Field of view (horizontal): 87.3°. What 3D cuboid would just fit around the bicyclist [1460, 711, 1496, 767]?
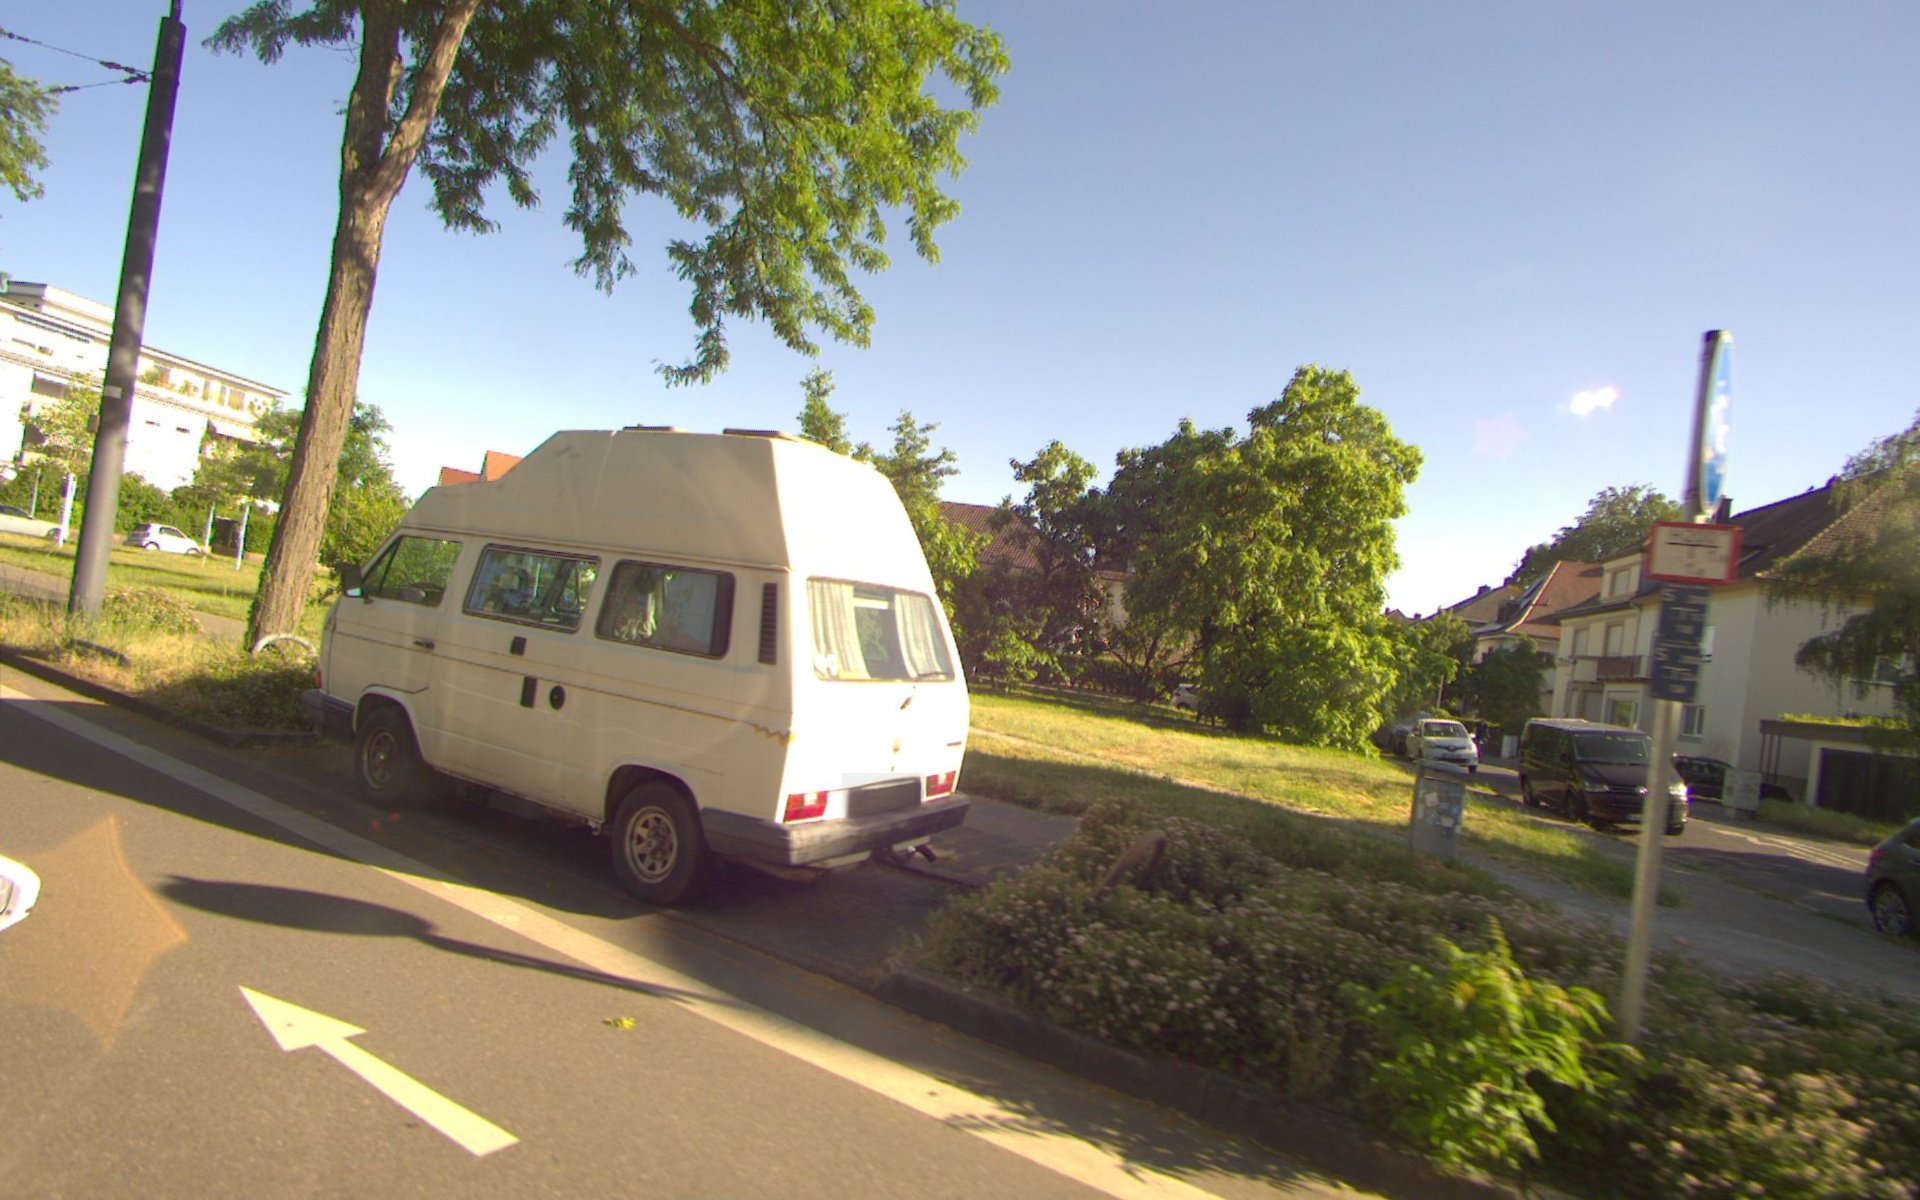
[{"bbox_3d":[20.715,5.550,40.274,0.810,2.037,0.851,7,-1,6],"label":"bicyclist"}]

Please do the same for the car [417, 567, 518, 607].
[{"bbox_3d":[-27.485,-0.709,56.188,4.665,1.487,2.068,7,-2,12],"label":"car"}]

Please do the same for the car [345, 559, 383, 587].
[{"bbox_3d":[-46.439,-2.123,78.384,2.035,1.727,4.248,10,-3,-35],"label":"car"}]

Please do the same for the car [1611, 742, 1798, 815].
[{"bbox_3d":[24.820,5.928,33.735,4.497,1.518,2.003,7,-2,13],"label":"car"}]

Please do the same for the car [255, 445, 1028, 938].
[{"bbox_3d":[-2.186,0.337,6.584,4.636,2.119,1.999,7,-2,30],"label":"car"}]

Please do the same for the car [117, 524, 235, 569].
[{"bbox_3d":[-39.147,-2.654,50.362,1.806,1.527,4.300,5,-4,19],"label":"car"}]

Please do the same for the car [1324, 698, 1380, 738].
[{"bbox_3d":[21.885,6.571,56.310,1.962,1.792,4.006,7,-2,11],"label":"car"}]

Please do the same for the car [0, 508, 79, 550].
[{"bbox_3d":[-41.112,-3.215,43.183,1.931,1.384,4.532,7,-3,14],"label":"car"}]

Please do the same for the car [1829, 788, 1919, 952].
[{"bbox_3d":[10.653,2.855,9.355,1.971,1.507,4.469,4,-3,13],"label":"car"}]

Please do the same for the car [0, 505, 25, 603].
[{"bbox_3d":[-17.409,-1.003,16.153,5.341,1.484,2.003,6,1,30],"label":"car"}]

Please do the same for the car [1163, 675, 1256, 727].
[{"bbox_3d":[11.620,4.676,46.798,3.925,1.817,2.002,7,-2,18],"label":"car"}]

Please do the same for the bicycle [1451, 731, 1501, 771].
[{"bbox_3d":[20.665,6.038,40.332,0.784,1.246,2.667,7,-2,7],"label":"bicycle"}]

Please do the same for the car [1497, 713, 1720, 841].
[{"bbox_3d":[13.215,3.510,20.971,2.060,1.905,5.224,8,-3,13],"label":"car"}]

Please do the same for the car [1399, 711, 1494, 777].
[{"bbox_3d":[16.009,4.680,33.309,1.962,1.610,4.235,7,-2,16],"label":"car"}]
